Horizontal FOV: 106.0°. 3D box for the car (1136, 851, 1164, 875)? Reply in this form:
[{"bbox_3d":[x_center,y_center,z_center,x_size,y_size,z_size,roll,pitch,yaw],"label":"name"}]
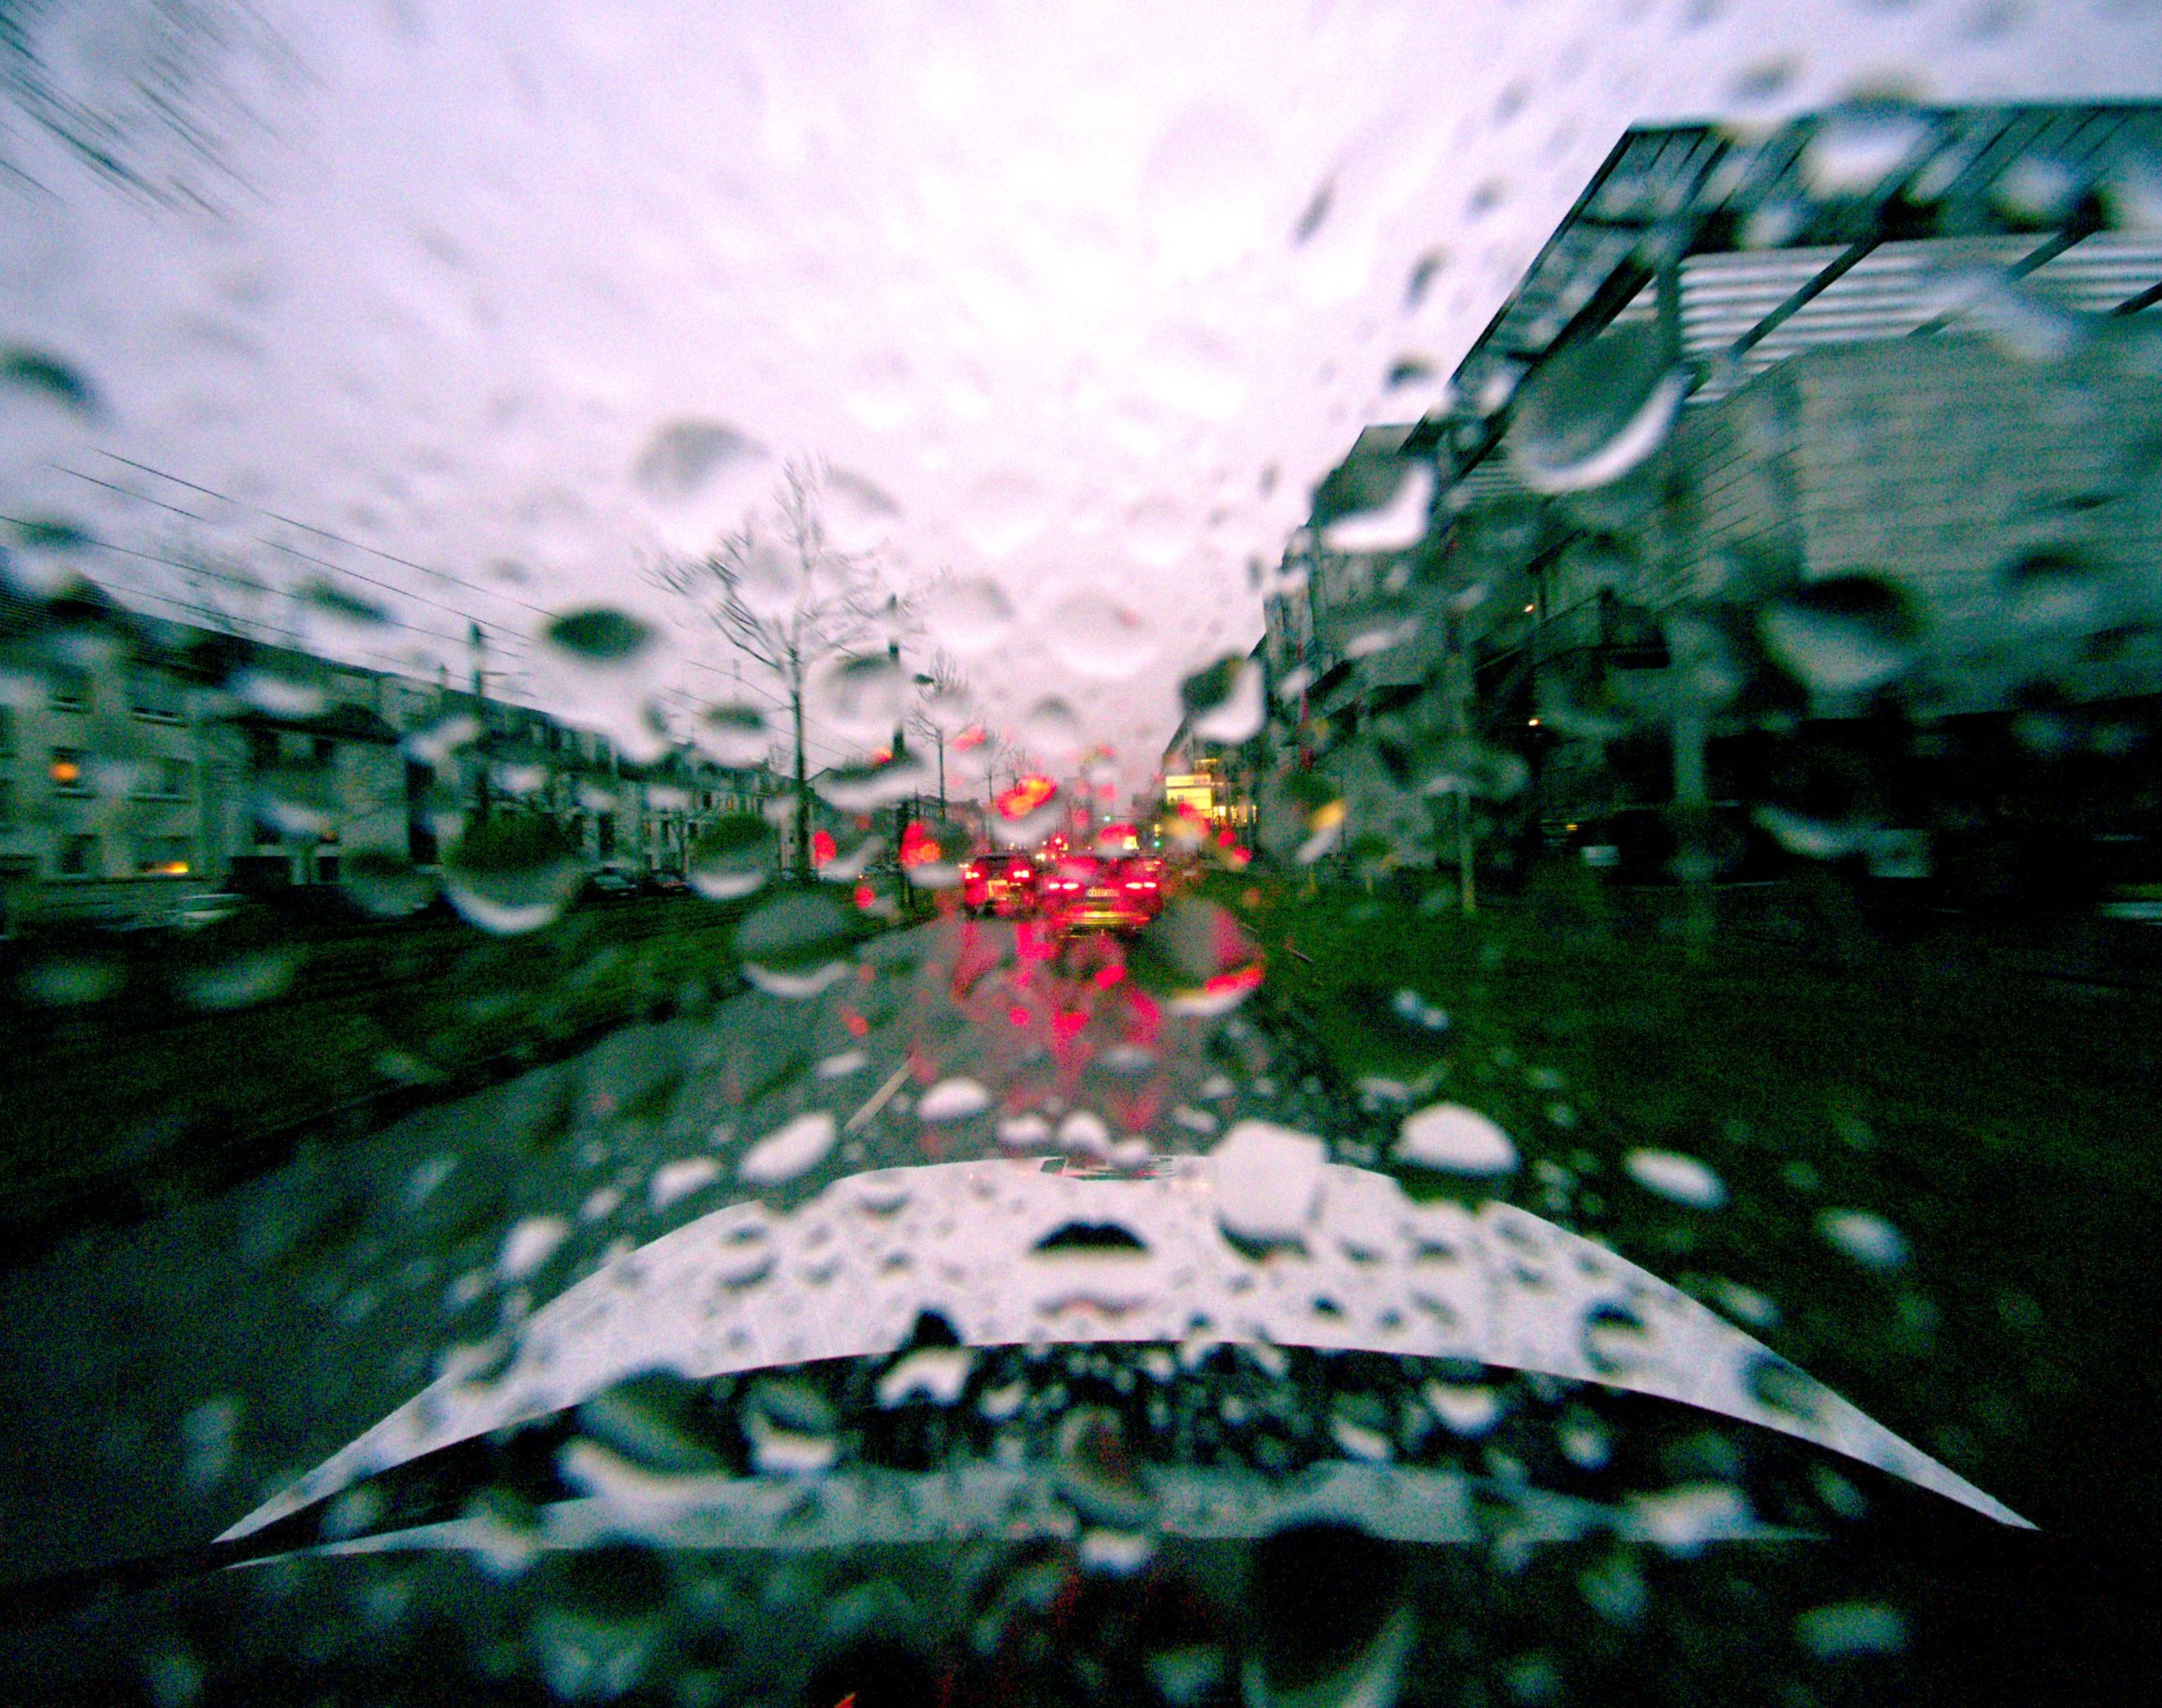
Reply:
[{"bbox_3d":[4.697,0.580,55.561,1.858,1.543,3.615,-1,0,5],"label":"car"}]

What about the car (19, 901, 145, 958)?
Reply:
[{"bbox_3d":[-26.402,1.942,21.504,3.772,1.172,1.749,0,0,34],"label":"car"}]

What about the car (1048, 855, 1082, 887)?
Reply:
[{"bbox_3d":[-0.870,0.890,44.789,1.683,1.635,3.475,-1,0,2],"label":"car"}]

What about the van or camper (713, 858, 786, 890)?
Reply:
[{"bbox_3d":[-26.268,1.561,64.401,6.792,2.360,2.013,-1,0,35],"label":"van or camper"}]

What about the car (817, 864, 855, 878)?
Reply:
[{"bbox_3d":[-25.143,1.769,83.565,4.071,1.378,1.784,-1,0,38],"label":"car"}]

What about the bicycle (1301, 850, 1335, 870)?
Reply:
[{"bbox_3d":[13.898,0.342,47.742,1.803,1.052,0.397,-3,0,-1],"label":"bicycle"}]

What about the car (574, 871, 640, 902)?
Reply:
[{"bbox_3d":[-26.048,1.758,44.724,4.109,1.541,1.680,-1,0,38],"label":"car"}]

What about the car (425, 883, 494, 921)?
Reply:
[{"bbox_3d":[-26.573,2.013,34.797,3.342,1.422,1.680,-1,0,40],"label":"car"}]

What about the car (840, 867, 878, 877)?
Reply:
[{"bbox_3d":[-24.622,1.998,90.337,4.135,1.116,1.692,-1,0,32],"label":"car"}]

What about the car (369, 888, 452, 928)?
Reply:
[{"bbox_3d":[-26.299,2.078,31.930,2.899,1.336,1.749,0,0,34],"label":"car"}]

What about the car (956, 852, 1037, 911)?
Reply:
[{"bbox_3d":[-2.226,0.679,22.440,1.812,1.450,3.999,-1,0,0],"label":"car"}]

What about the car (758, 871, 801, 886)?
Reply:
[{"bbox_3d":[-26.023,2.094,70.311,3.494,1.212,1.759,-1,0,33],"label":"car"}]

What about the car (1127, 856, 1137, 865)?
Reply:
[{"bbox_3d":[9.029,1.089,143.185,1.608,1.571,3.356,-1,0,5],"label":"car"}]

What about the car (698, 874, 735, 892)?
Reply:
[{"bbox_3d":[-25.896,2.023,57.807,2.852,1.204,1.397,-1,0,43],"label":"car"}]

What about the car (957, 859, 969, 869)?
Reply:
[{"bbox_3d":[-20.561,1.709,142.015,1.607,1.623,3.510,-1,0,2],"label":"car"}]

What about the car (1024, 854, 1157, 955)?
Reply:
[{"bbox_3d":[0.195,0.764,14.082,1.986,1.483,3.701,-1,0,1],"label":"car"}]

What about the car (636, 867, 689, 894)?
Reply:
[{"bbox_3d":[-26.211,1.643,51.016,3.801,1.588,1.753,-1,0,43],"label":"car"}]

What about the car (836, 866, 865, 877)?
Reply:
[{"bbox_3d":[-24.660,1.903,87.144,3.005,1.147,1.406,-1,0,32],"label":"car"}]

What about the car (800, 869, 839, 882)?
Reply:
[{"bbox_3d":[-24.611,1.973,76.682,3.374,1.147,1.702,-1,0,33],"label":"car"}]

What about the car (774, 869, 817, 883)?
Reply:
[{"bbox_3d":[-25.636,1.961,73.209,3.494,1.200,1.894,-1,0,33],"label":"car"}]

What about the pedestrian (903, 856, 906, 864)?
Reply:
[{"bbox_3d":[-25.716,0.932,118.613,0.348,1.184,0.429,0,-1,-39],"label":"pedestrian"}]

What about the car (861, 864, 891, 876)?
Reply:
[{"bbox_3d":[-24.578,1.948,97.482,3.719,1.337,1.463,-2,0,37],"label":"car"}]

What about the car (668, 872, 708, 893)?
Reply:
[{"bbox_3d":[-26.662,1.927,55.252,3.058,1.302,1.397,-1,0,43],"label":"car"}]

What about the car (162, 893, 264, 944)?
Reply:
[{"bbox_3d":[-26.431,1.916,24.774,3.794,1.245,1.749,0,0,37],"label":"car"}]

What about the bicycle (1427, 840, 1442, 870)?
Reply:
[{"bbox_3d":[15.511,0.024,35.707,0.406,1.284,1.755,-1,0,29],"label":"bicycle"}]
